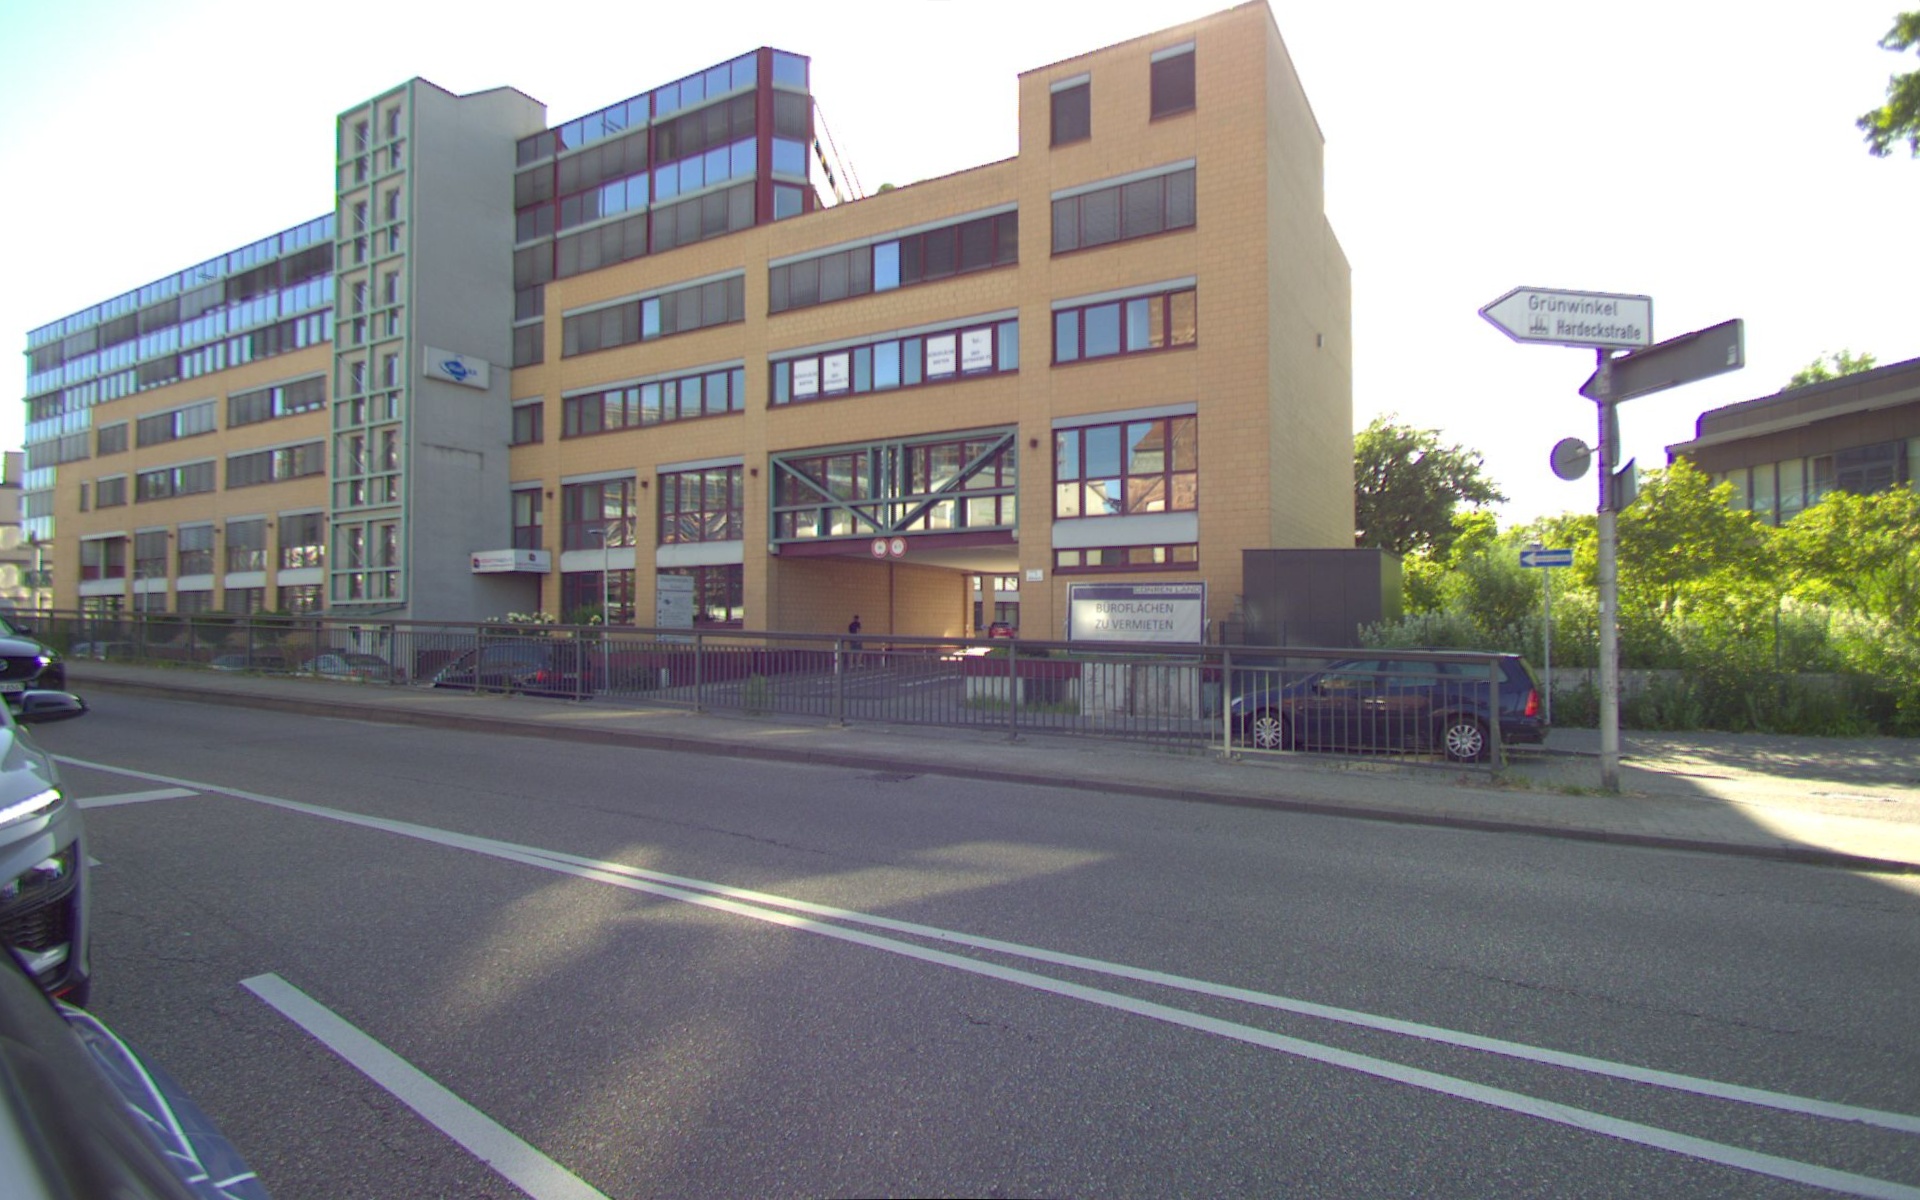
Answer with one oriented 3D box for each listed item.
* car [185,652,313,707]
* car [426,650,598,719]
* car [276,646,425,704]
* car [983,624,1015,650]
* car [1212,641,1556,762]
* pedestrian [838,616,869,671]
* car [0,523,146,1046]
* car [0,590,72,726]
[{"bbox_3d":[-22.229,2.447,31.611,3.986,1.576,1.865,-2,-3,32],"label":"car"},{"bbox_3d":[-11.008,2.031,24.853,4.139,1.535,1.624,-2,-3,27],"label":"car"},{"bbox_3d":[-17.523,2.126,29.090,4.143,1.535,1.862,-2,-3,29],"label":"car"},{"bbox_3d":[2.572,2.453,67.290,1.742,1.532,4.003,-1,0,-3],"label":"car"},{"bbox_3d":[6.066,1.437,14.722,4.367,1.520,1.640,-3,-5,34],"label":"car"},{"bbox_3d":[-3.690,1.506,35.088,0.703,1.865,0.738,-2,-1,35],"label":"pedestrian"},{"bbox_3d":[-4.942,0.617,4.162,4.196,1.634,1.854,-2,-3,42],"label":"car"},{"bbox_3d":[-14.006,0.785,13.695,4.182,1.722,1.860,-2,-3,32],"label":"car"}]
